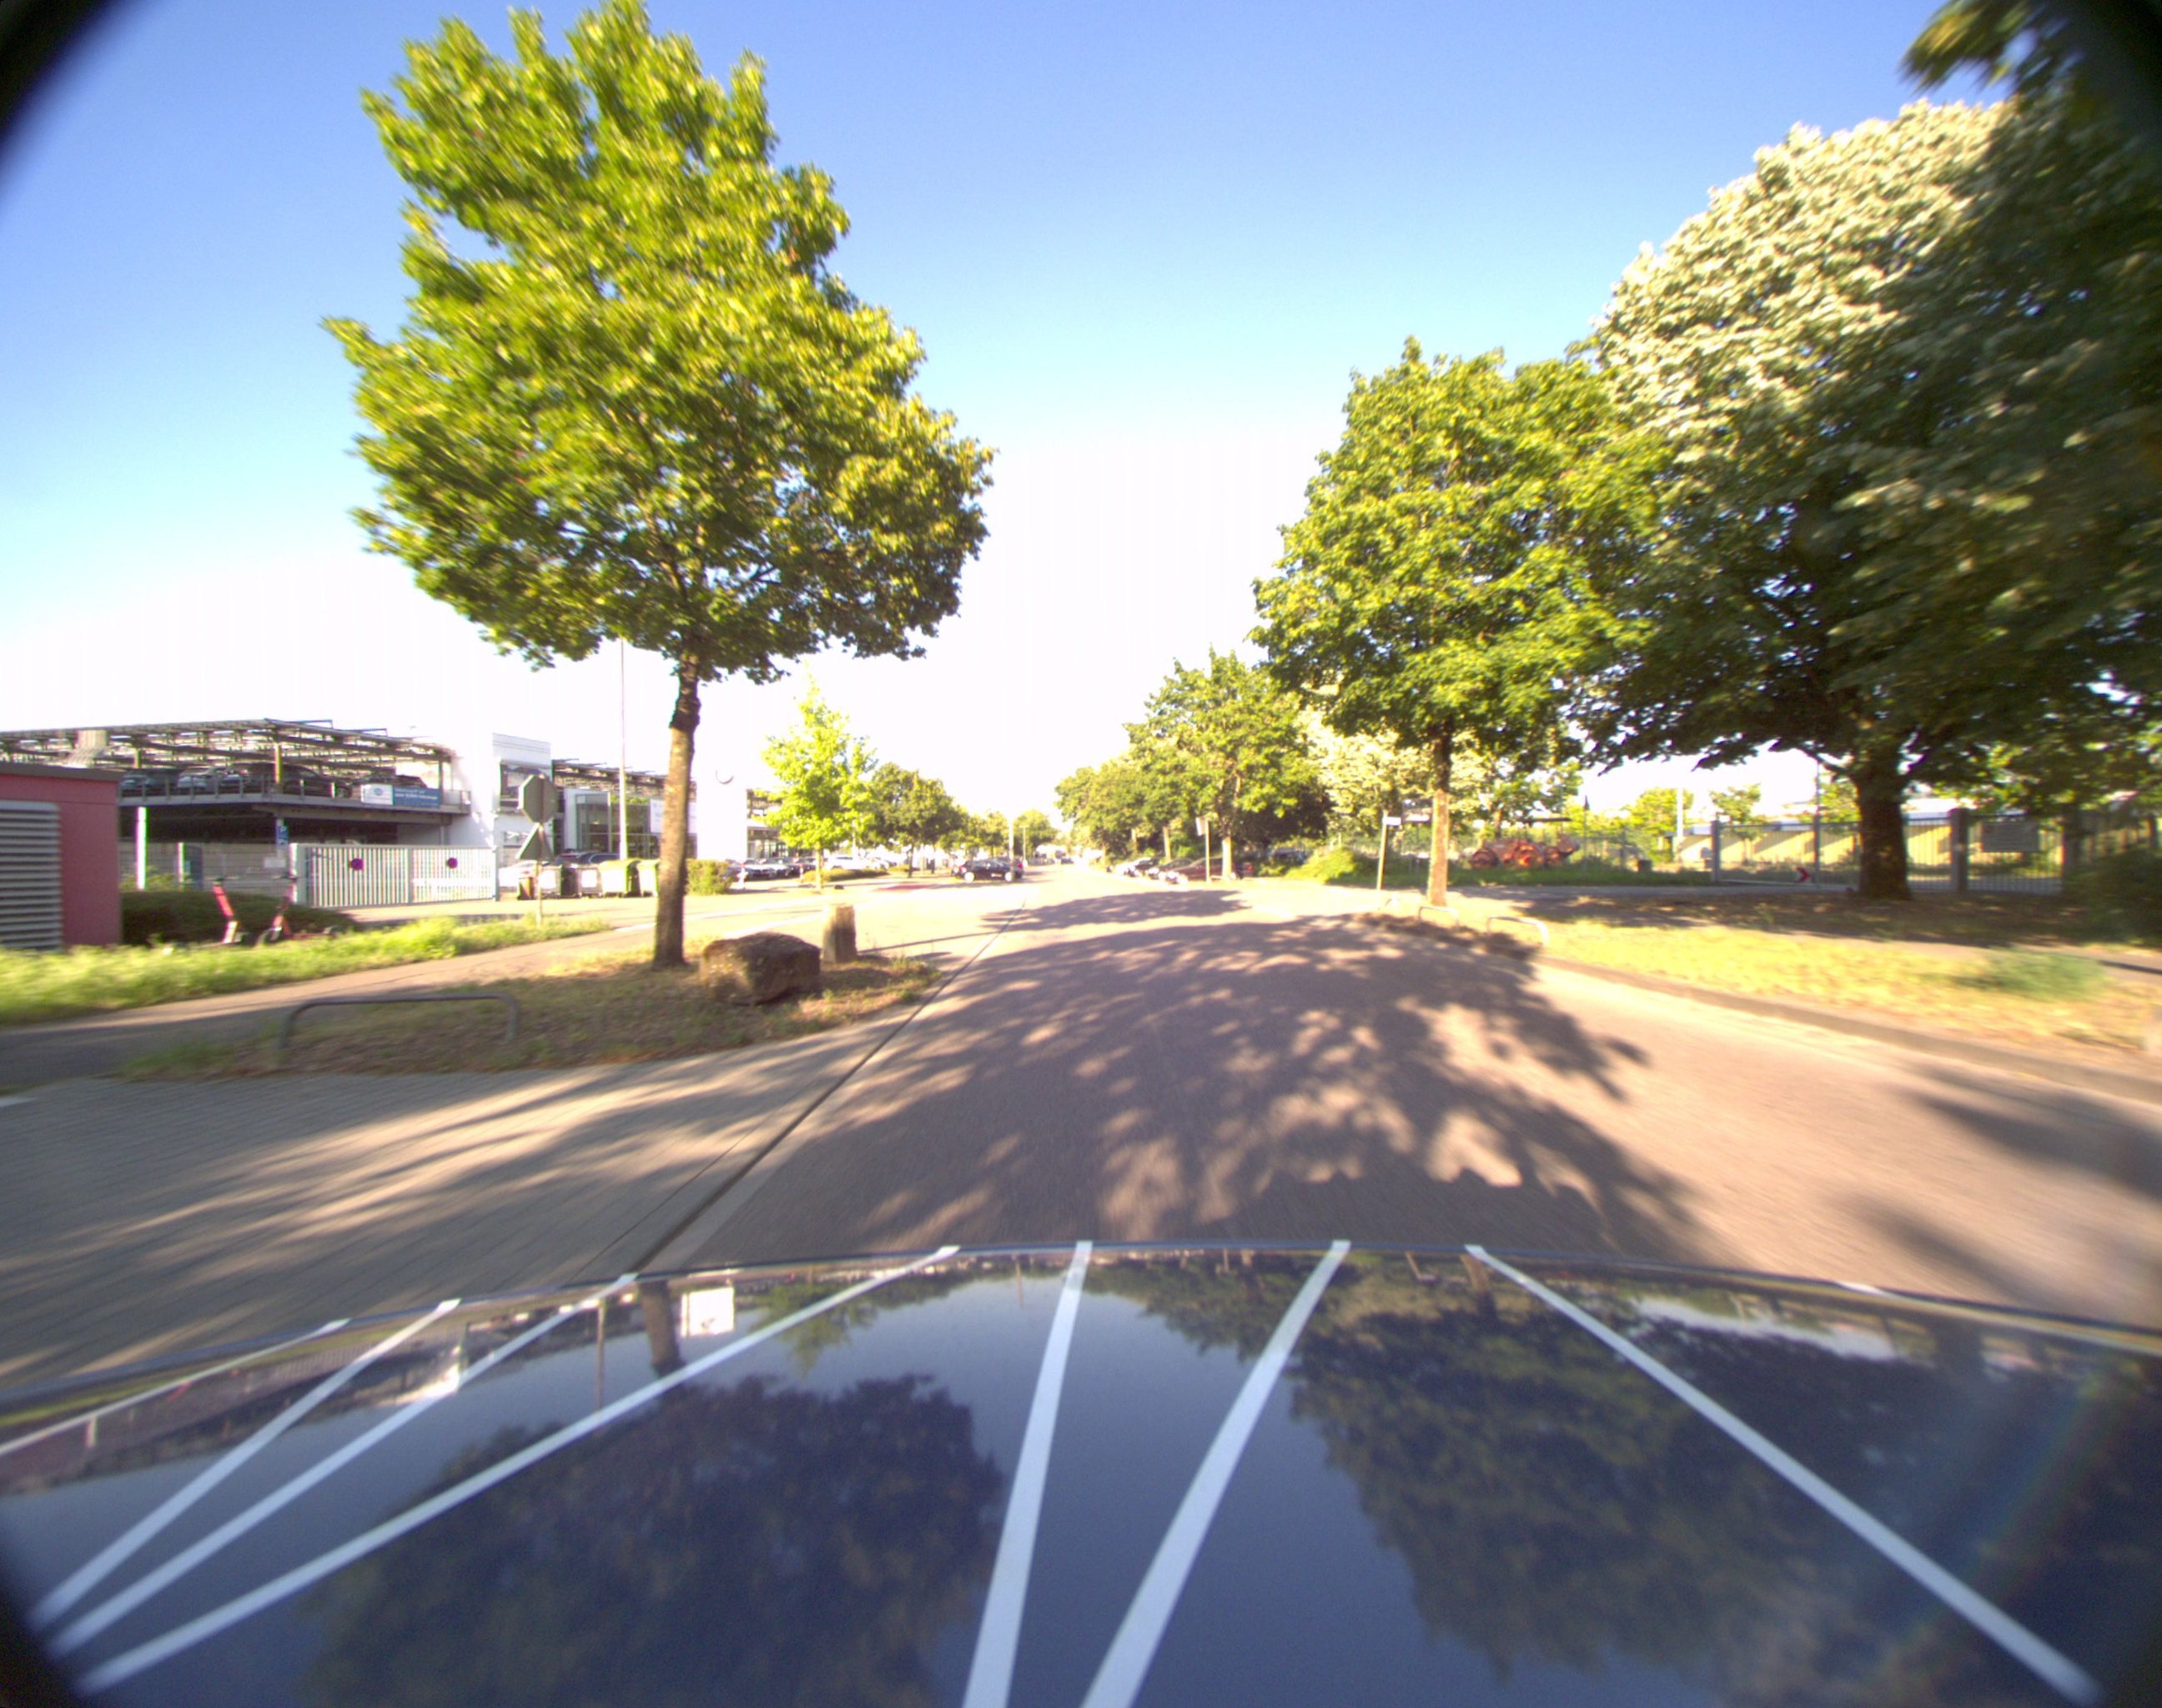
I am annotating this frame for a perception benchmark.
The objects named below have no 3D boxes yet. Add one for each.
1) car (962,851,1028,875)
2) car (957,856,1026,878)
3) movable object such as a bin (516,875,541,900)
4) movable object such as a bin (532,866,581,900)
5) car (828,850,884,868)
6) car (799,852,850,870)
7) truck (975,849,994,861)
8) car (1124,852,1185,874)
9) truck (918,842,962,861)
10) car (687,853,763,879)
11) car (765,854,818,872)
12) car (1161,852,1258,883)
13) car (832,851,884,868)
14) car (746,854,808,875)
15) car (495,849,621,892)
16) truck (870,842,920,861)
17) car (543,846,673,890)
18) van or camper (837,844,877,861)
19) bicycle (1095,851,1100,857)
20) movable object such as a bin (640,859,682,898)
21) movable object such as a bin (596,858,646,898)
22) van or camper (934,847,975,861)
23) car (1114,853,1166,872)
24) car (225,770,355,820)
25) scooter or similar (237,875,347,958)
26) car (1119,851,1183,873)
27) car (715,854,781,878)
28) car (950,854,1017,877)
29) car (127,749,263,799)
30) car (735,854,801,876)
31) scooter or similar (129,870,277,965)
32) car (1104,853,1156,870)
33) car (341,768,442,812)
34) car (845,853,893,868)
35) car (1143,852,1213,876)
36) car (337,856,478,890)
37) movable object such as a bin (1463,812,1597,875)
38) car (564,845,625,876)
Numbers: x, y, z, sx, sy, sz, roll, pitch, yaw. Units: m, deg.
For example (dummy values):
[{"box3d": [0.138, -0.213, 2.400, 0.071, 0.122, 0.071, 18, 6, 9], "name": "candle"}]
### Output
[{"box3d": [-6.401, 0.661, 57.161, 4.707, 1.741, 2.191, -1, 0, -1], "name": "car"}, {"box3d": [-5.997, 0.863, 51.379, 4.494, 1.396, 2.032, -1, 0, -5], "name": "car"}, {"box3d": [-21.233, 1.286, 29.197, 0.506, 0.916, 0.604, -1, 1, 5], "name": "movable object such as a bin"}, {"box3d": [-20.240, 1.120, 29.343, 1.120, 1.260, 1.038, -1, 1, 2], "name": "movable object such as a bin"}, {"box3d": [-21.659, 0.488, 73.260, 4.738, 1.680, 2.405, 1, 0, -32], "name": "car"}, {"box3d": [-22.941, 0.631, 67.850, 5.176, 1.562, 2.004, 0, 0, 41], "name": "car"}, {"box3d": [-22.175, 0.241, 175.621, 2.542, 2.704, 5.977, 0, 0, 12], "name": "truck"}, {"box3d": [5.825, 0.713, 60.752, 4.493, 1.522, 1.999, -2, 1, -5], "name": "car"}, {"box3d": [-27.119, -0.409, 145.759, 8.231, 3.501, 3.121, 0, 0, 31], "name": "truck"}, {"box3d": [-21.357, 0.717, 45.512, 4.775, 1.455, 2.005, 0, -1, 36], "name": "car"}, {"box3d": [-23.539, 0.701, 61.718, 4.775, 1.455, 2.004, 0, 0, 41], "name": "car"}, {"box3d": [7.258, 0.740, 43.183, 5.050, 1.453, 1.999, -2, 1, -5], "name": "car"}, {"box3d": [-22.242, 0.543, 75.969, 4.613, 1.565, 1.995, 1, 0, -32], "name": "car"}, {"box3d": [-22.805, 0.766, 56.949, 4.776, 1.455, 2.004, -1, 0, 36], "name": "car"}, {"box3d": [-23.532, 0.692, 34.429, 2.035, 1.817, 4.564, -1, 0, 11], "name": "car"}, {"box3d": [-36.793, -0.460, 149.894, 10.091, 3.623, 3.302, 0, 0, 30], "name": "truck"}, {"box3d": [-20.946, 0.579, 33.952, 2.035, 1.817, 4.980, 0, 0, 11], "name": "car"}, {"box3d": [-46.161, -0.305, 156.365, 8.119, 3.309, 2.418, 0, 0, 22], "name": "van or camper"}, {"box3d": [3.402, -0.005, 154.885, 0.768, 1.033, 2.216, -1, 0, -5], "name": "bicycle"}, {"box3d": [-15.688, 0.911, 28.415, 0.846, 1.408, 1.040, -2, 0, 28], "name": "movable object such as a bin"}, {"box3d": [-17.355, 0.884, 28.676, 1.213, 1.475, 1.038, -1, 1, 2], "name": "movable object such as a bin"}, {"box3d": [-26.065, -0.011, 156.629, 7.990, 2.883, 2.948, 0, 0, 26], "name": "van or camper"}, {"box3d": [5.278, 0.780, 68.385, 4.299, 1.522, 1.999, -2, 1, -4], "name": "car"}, {"box3d": [-40.650, -2.975, 39.218, 1.997, 2.089, 4.204, -3, 0, 7], "name": "car"}, {"box3d": [-12.961, 0.997, 12.521, 0.521, 1.264, 1.200, -1, 1, 0], "name": "scooter or similar"}, {"box3d": [5.796, 0.647, 63.259, 4.865, 1.522, 1.998, -3, 1, -8], "name": "car"}, {"box3d": [-21.600, 0.760, 49.194, 4.775, 1.455, 2.051, 0, 1, 41], "name": "car"}, {"box3d": [-6.840, 0.797, 53.714, 4.494, 1.541, 2.033, -1, 0, -4], "name": "car"}, {"box3d": [-46.443, -4.133, 39.978, 1.997, 2.089, 4.204, -3, 0, 7], "name": "car"}, {"box3d": [-21.707, 0.711, 52.663, 4.775, 1.455, 2.004, 0, 0, 36], "name": "car"}, {"box3d": [-12.721, 0.883, 11.066, 0.521, 1.264, 1.387, -1, 0, 0], "name": "scooter or similar"}, {"box3d": [4.754, 0.746, 74.059, 4.663, 1.413, 1.915, -3, 1, -7], "name": "car"}, {"box3d": [-39.681, -3.673, 43.776, 4.196, 2.089, 2.001, -3, 0, 7], "name": "car"}, {"box3d": [-22.882, 0.709, 81.992, 4.613, 1.565, 1.995, -1, 0, -32], "name": "car"}, {"box3d": [6.741, 0.699, 53.195, 4.493, 1.453, 1.999, -2, 1, -5], "name": "car"}, {"box3d": [-31.107, 0.830, 35.309, 2.035, 1.423, 4.564, 0, 0, 11], "name": "car"}, {"box3d": [20.341, -0.430, 34.556, 2.169, 2.649, 4.791, -1, 0, -40], "name": "movable object such as a bin"}, {"box3d": [-32.191, 0.429, 50.250, 4.170, 2.002, 2.004, 0, 0, 36], "name": "car"}]
